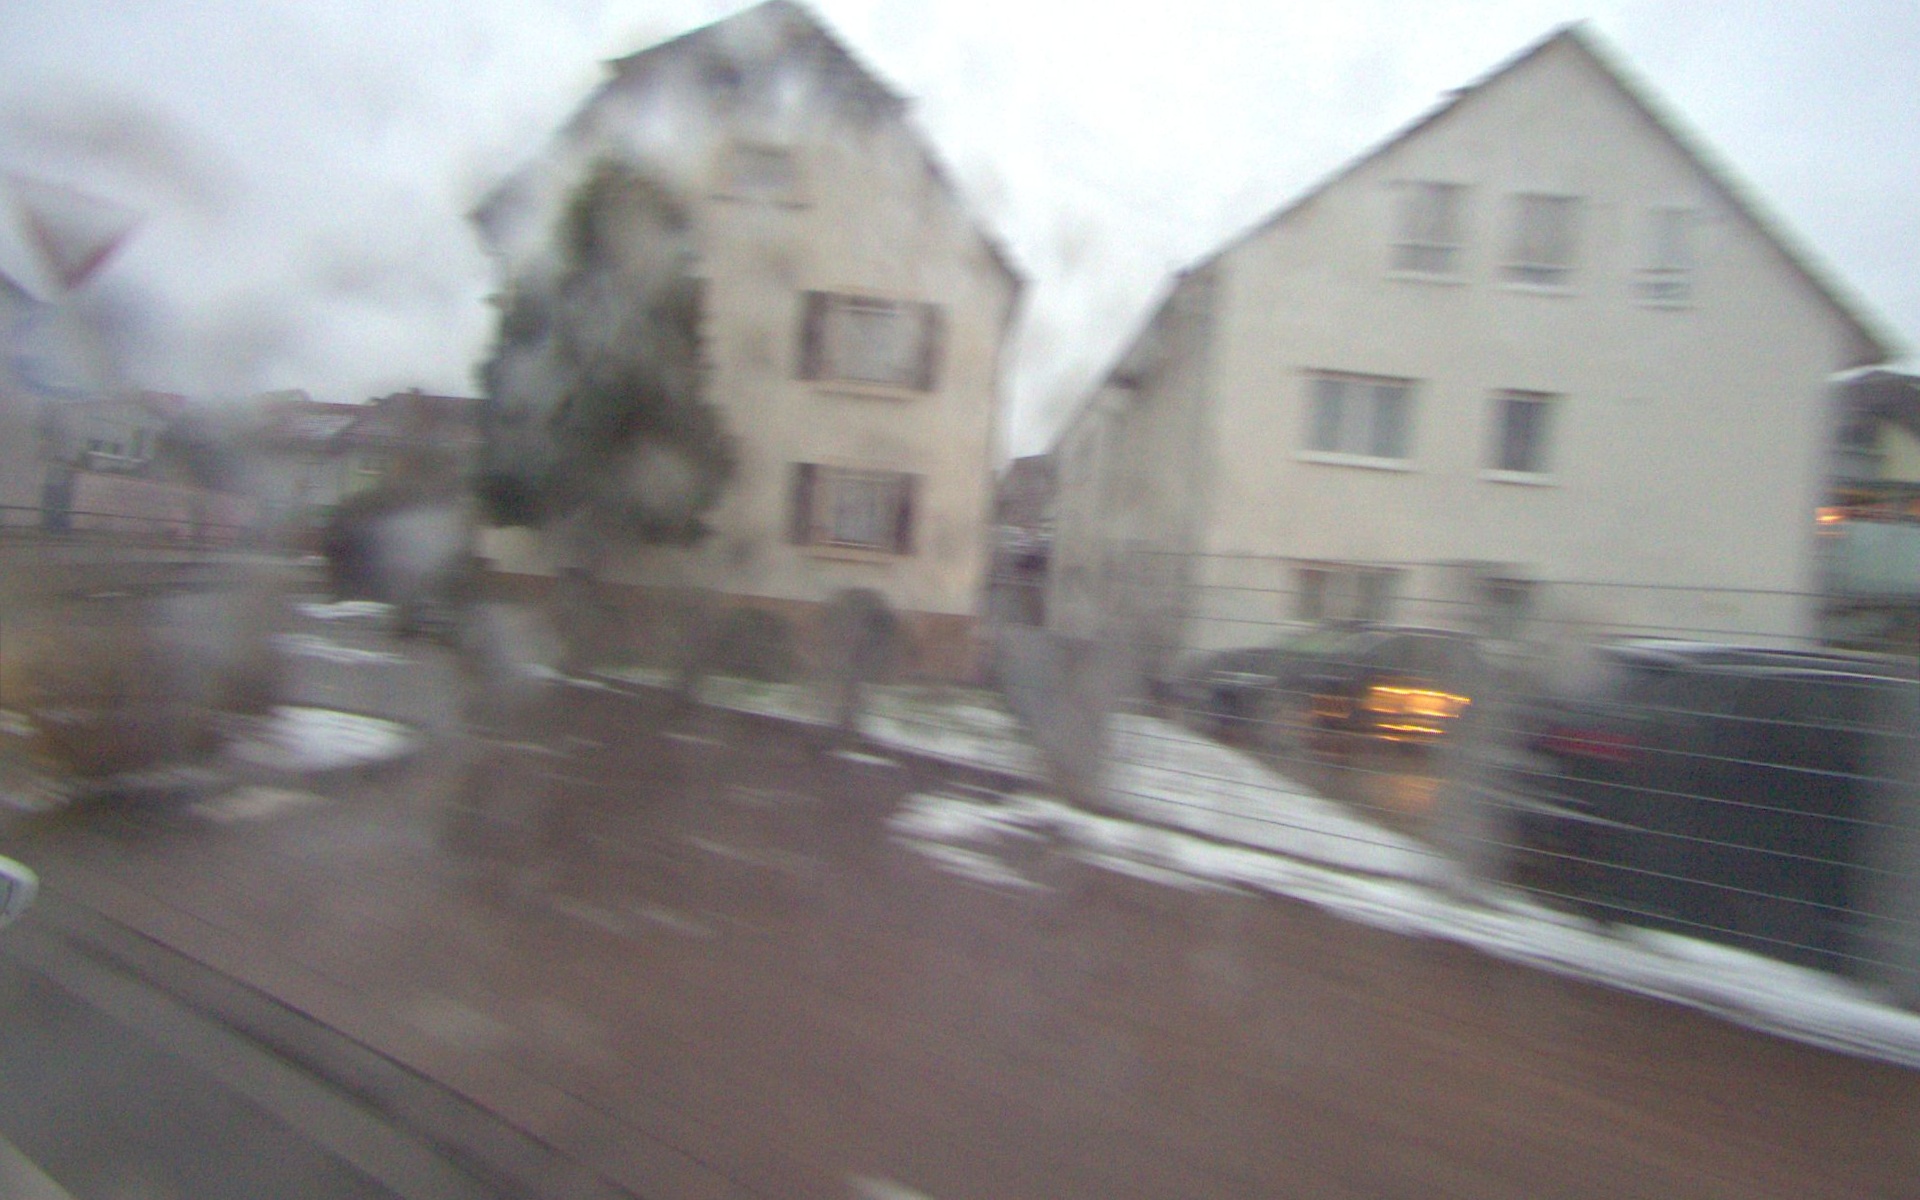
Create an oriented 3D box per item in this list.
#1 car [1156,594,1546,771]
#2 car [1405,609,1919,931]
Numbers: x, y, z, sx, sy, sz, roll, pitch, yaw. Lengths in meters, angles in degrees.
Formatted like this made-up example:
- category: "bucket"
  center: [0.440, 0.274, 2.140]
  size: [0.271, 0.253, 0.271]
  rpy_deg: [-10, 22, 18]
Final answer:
- category: "car"
  center: [4.640, 0.954, 12.337]
  size: [3.928, 1.588, 1.812]
  rpy_deg: [6, 2, -5]
- category: "car"
  center: [5.788, 1.154, 6.988]
  size: [4.469, 1.650, 1.812]
  rpy_deg: [6, 2, -5]
